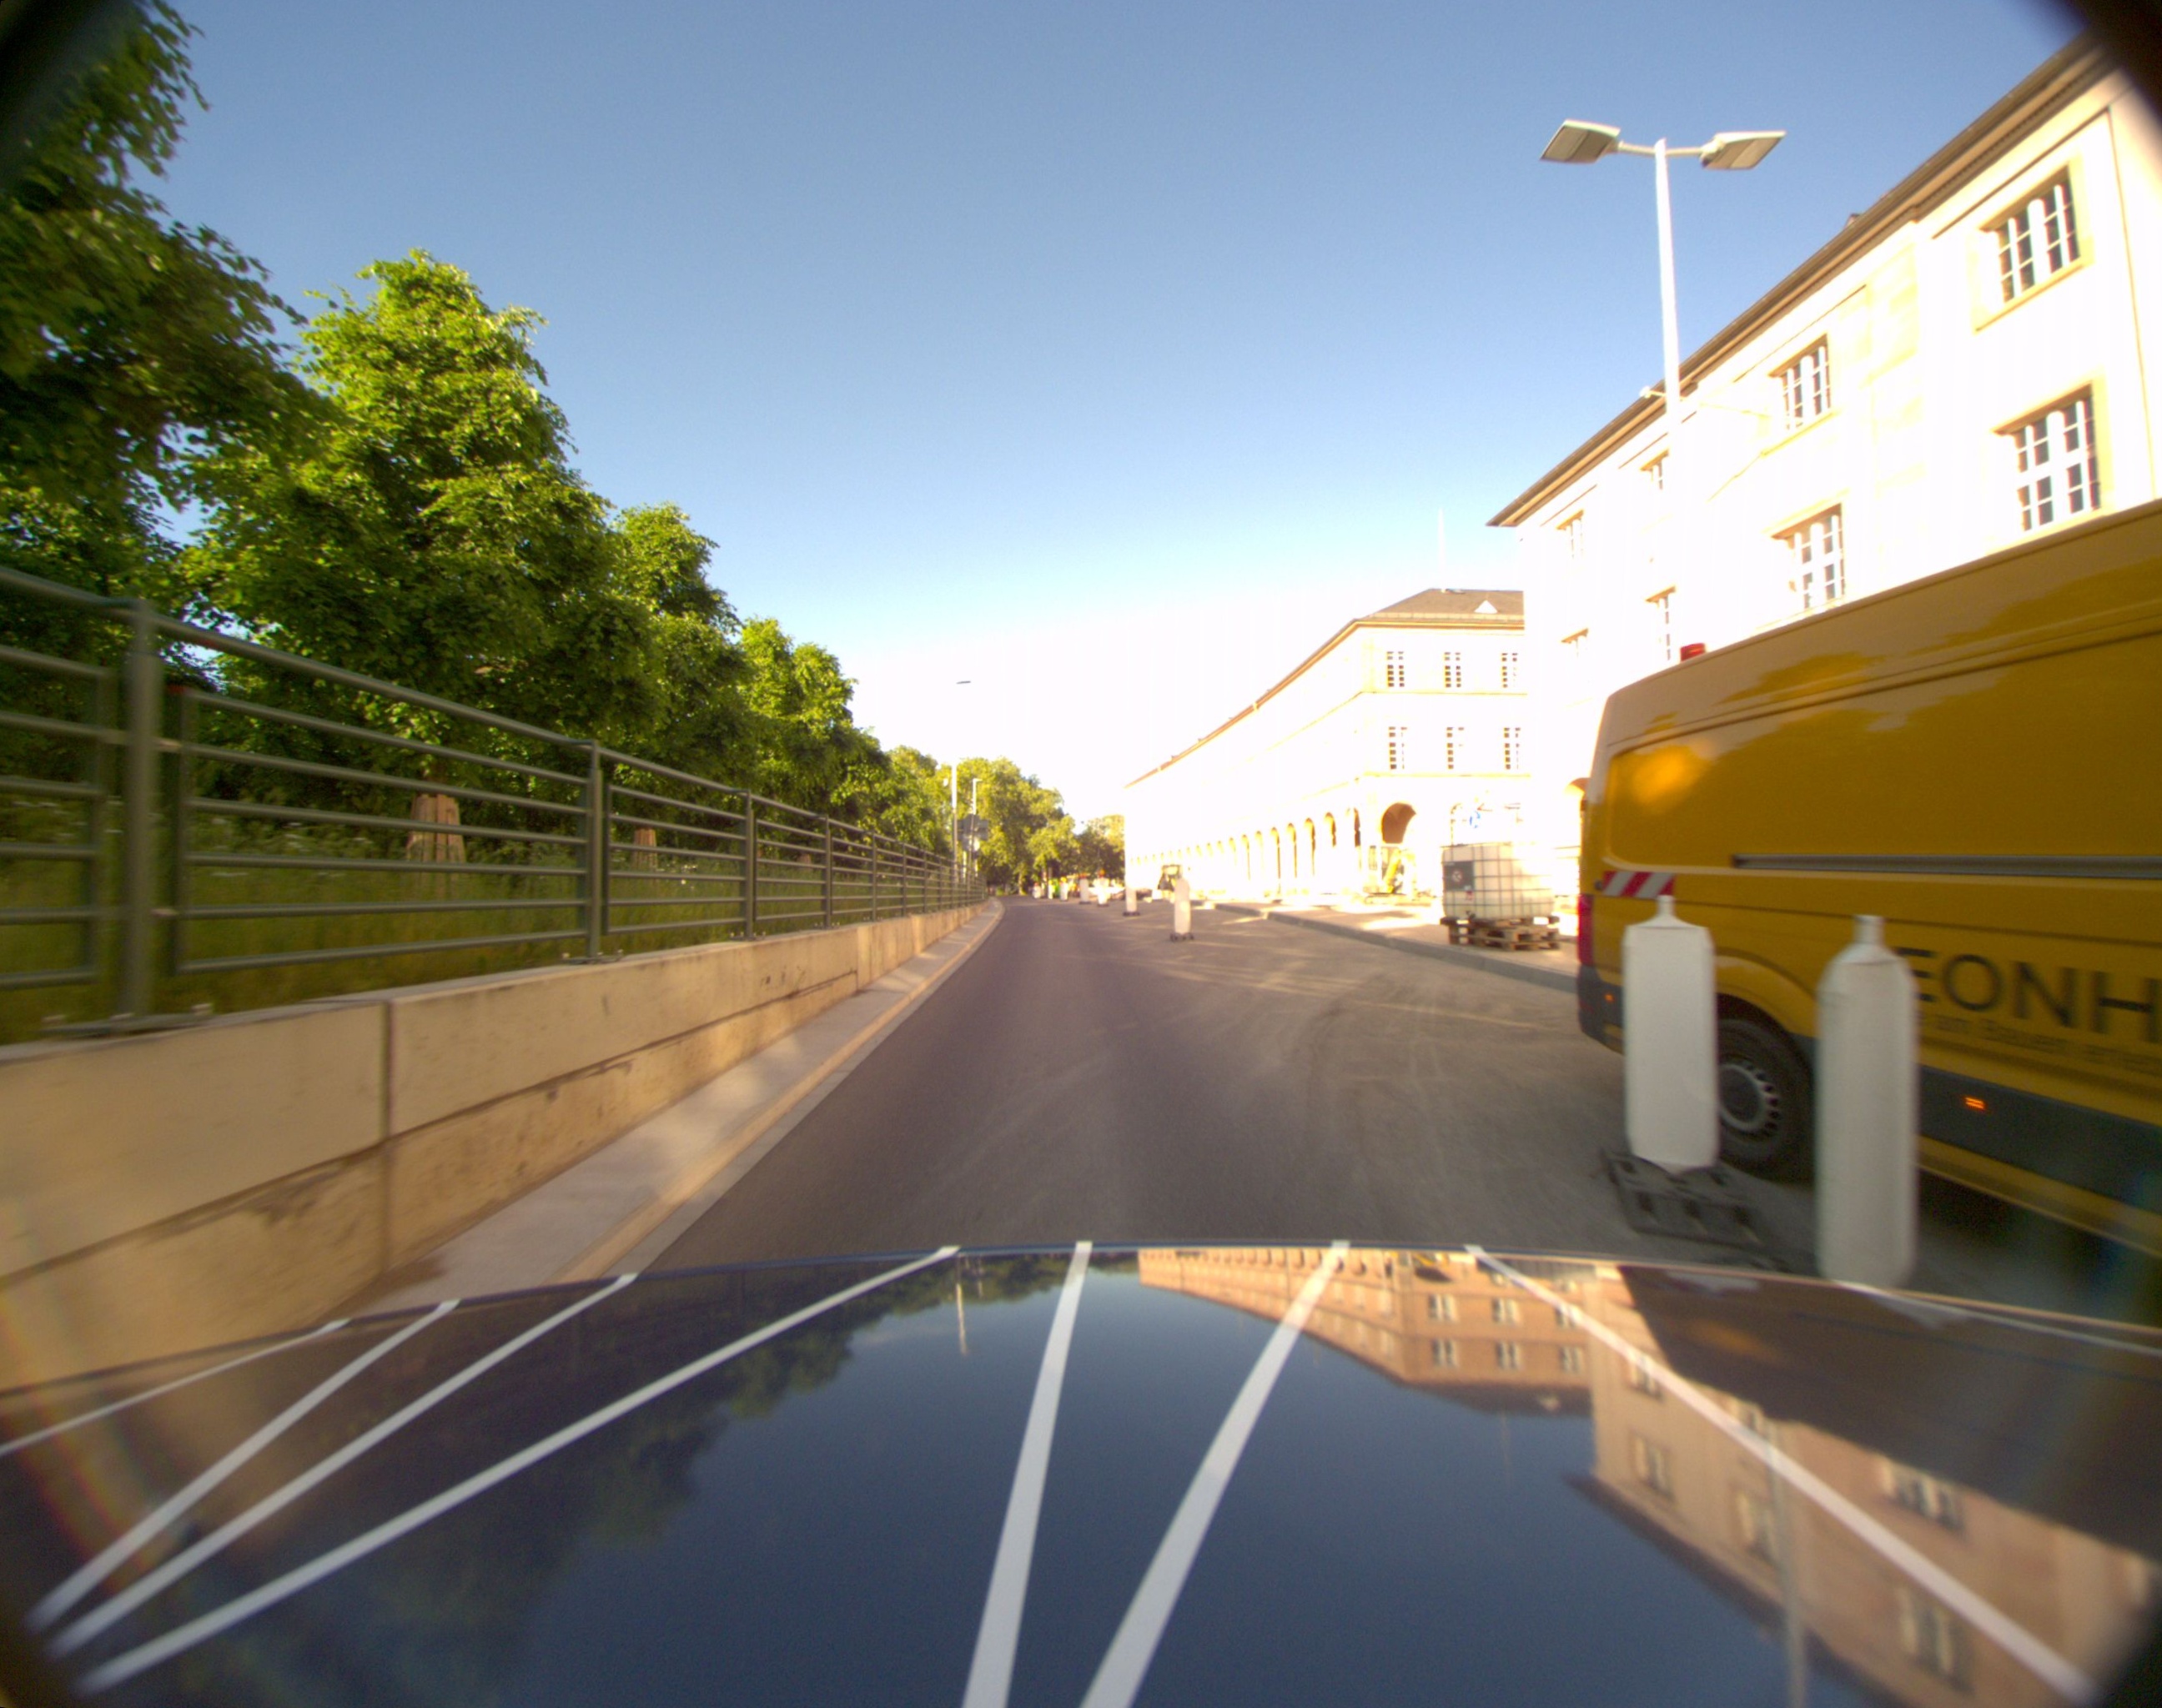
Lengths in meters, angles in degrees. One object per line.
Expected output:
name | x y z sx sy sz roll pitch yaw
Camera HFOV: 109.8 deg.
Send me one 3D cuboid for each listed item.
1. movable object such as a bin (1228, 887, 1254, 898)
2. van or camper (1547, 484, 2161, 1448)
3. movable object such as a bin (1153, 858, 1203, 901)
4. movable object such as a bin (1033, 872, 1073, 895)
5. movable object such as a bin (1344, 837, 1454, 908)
movable object such as a bin | 9.709 2.338 46.213 1.191 0.694 1.240 0 -2 -8
van or camper | 3.984 0.272 1.214 2.199 2.597 6.824 -3 0 0
movable object such as a bin | 5.733 1.536 45.467 1.796 2.437 4.535 0 -2 -9
movable object such as a bin | -2.611 2.787 71.278 3.246 2.064 2.107 1 -2 -19
movable object such as a bin | 11.498 0.669 27.804 2.105 2.381 4.308 1 -1 -2
